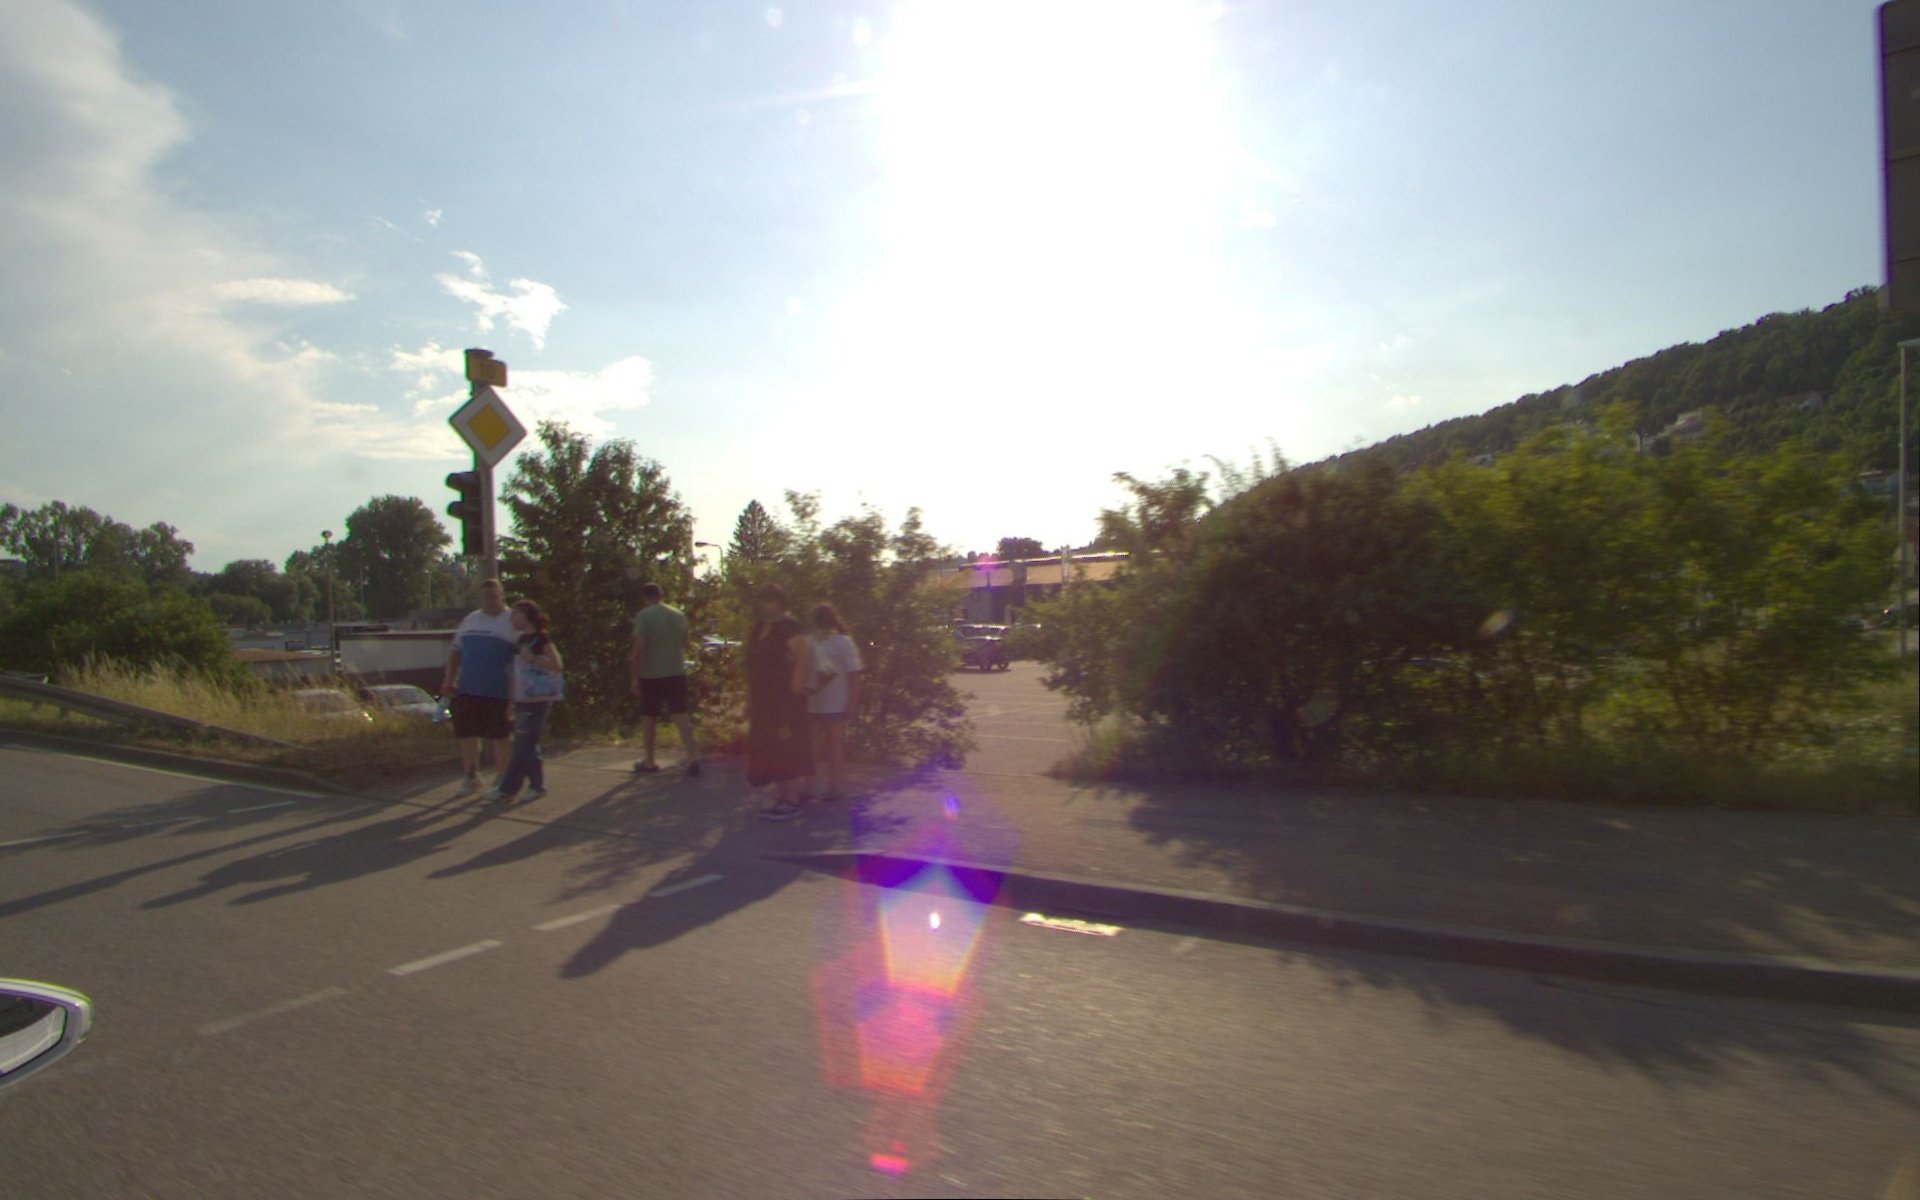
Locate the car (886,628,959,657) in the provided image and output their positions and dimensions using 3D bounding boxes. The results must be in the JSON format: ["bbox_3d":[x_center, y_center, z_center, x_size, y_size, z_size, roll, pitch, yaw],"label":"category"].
[{"bbox_3d":[-2.140,2.421,56.816,3.949,1.527,1.720,-2,-2,36],"label":"car"}]

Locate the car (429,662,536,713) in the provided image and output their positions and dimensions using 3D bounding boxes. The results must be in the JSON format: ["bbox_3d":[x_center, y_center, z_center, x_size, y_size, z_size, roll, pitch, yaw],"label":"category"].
[{"bbox_3d":[-15.287,2.763,32.011,3.537,1.503,1.525,-2,-2,35],"label":"car"}]

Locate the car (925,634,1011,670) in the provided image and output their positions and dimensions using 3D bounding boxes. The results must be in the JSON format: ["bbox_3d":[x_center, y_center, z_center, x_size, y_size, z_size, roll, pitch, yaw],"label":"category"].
[{"bbox_3d":[0.417,2.701,51.823,4.071,1.725,1.828,-2,0,32],"label":"car"}]

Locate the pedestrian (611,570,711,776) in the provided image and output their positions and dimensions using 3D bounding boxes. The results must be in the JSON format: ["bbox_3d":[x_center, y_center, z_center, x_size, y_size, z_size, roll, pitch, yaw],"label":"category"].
[{"bbox_3d":[-2.696,0.636,9.047,0.530,1.773,0.528,-2,3,37],"label":"pedestrian"}]

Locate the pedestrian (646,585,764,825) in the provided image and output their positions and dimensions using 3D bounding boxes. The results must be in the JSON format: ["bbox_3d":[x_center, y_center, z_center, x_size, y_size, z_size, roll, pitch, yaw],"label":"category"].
[{"bbox_3d":[-1.902,0.758,7.488,0.613,1.699,0.571,-2,-1,28],"label":"pedestrian"}]

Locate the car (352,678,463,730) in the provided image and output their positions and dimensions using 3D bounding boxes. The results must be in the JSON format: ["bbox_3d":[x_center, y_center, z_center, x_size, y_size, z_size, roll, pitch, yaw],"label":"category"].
[{"bbox_3d":[-16.598,3.073,30.049,3.537,1.389,1.525,-2,-2,35],"label":"car"}]

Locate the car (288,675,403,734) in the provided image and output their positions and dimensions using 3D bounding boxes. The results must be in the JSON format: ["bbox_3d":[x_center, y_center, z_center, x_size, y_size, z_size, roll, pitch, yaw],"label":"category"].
[{"bbox_3d":[-17.567,2.939,28.597,3.537,1.503,1.525,-2,-2,35],"label":"car"}]

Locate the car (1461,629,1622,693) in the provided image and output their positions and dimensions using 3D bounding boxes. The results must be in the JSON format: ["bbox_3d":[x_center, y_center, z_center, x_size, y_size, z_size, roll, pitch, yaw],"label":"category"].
[{"bbox_3d":[15.977,1.657,27.560,3.707,1.650,1.589,-2,-2,34],"label":"car"}]

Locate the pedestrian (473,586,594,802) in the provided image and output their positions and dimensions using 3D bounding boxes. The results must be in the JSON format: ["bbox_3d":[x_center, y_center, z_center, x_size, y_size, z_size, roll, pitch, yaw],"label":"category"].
[{"bbox_3d":[-3.556,0.756,8.367,0.624,1.706,0.593,-2,2,32],"label":"pedestrian"}]

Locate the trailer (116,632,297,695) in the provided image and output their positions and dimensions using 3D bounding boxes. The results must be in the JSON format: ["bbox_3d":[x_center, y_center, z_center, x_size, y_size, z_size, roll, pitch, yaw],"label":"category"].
[{"bbox_3d":[-43.727,3.589,58.375,3.316,3.364,7.853,-2,-2,37],"label":"trailer"}]

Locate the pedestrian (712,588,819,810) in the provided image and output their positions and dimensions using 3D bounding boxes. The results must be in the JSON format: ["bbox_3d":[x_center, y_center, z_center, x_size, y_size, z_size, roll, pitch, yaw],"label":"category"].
[{"bbox_3d":[-1.562,0.774,8.062,0.613,1.699,0.571,-2,-1,28],"label":"pedestrian"}]

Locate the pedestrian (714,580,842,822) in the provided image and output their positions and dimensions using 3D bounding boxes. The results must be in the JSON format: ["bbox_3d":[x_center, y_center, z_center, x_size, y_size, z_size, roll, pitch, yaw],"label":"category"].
[{"bbox_3d":[-1.292,0.688,7.149,0.613,1.636,0.571,-2,1,28],"label":"pedestrian"}]

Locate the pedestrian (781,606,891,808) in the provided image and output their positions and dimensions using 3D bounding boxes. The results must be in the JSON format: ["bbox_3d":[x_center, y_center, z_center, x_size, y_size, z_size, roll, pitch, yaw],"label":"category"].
[{"bbox_3d":[-0.955,0.802,7.737,0.613,1.475,0.571,-2,-1,28],"label":"pedestrian"}]

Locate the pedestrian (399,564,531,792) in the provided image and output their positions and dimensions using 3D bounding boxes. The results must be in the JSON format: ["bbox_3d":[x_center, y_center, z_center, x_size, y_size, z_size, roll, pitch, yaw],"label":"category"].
[{"bbox_3d":[-4.358,0.659,8.831,0.849,1.908,0.617,-2,1,31],"label":"pedestrian"}]
